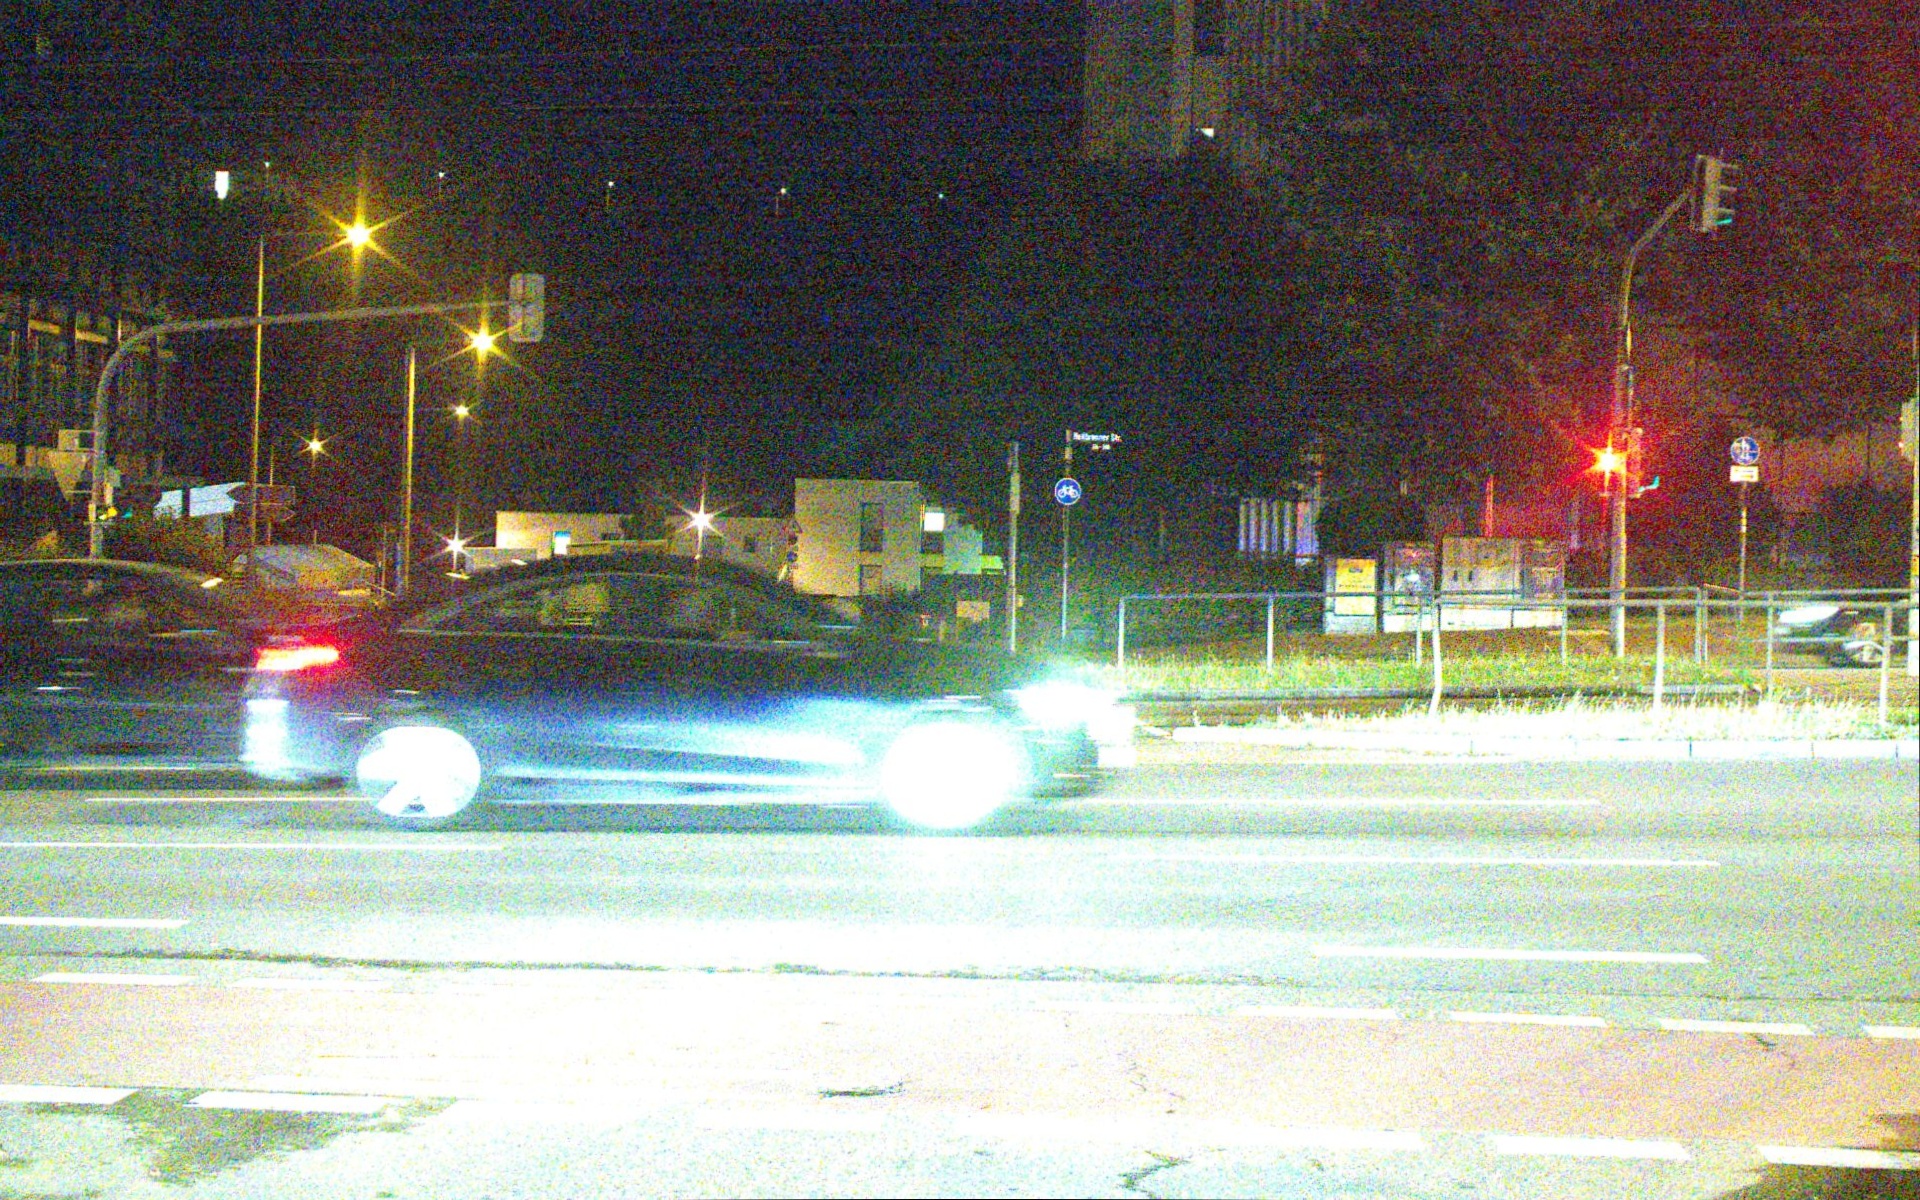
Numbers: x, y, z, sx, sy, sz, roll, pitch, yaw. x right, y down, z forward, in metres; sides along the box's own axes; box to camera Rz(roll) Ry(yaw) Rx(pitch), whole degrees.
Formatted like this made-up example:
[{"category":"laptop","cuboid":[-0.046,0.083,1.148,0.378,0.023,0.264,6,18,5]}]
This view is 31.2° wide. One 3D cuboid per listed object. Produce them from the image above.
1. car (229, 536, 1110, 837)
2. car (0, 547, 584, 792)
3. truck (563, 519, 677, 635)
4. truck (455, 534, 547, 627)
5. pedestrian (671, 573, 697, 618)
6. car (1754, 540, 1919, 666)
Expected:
[{"category":"car","cuboid":[-1.489,0.443,18.811,4.572,1.415,1.745,-1,4,3]},{"category":"car","cuboid":[-4.692,0.405,21.988,4.250,1.415,1.744,0,3,7]},{"category":"truck","cuboid":[-14.764,-0.990,148.861,3.359,4.826,7.908,1,0,-17]},{"category":"truck","cuboid":[-15.991,-0.671,119.441,2.417,3.078,6.439,1,0,-14]},{"category":"pedestrian","cuboid":[-11.839,-0.208,147.592,0.849,1.905,1.007,1,0,-18]},{"category":"car","cuboid":[11.236,0.018,39.460,3.871,1.400,1.769,-1,0,3]}]
